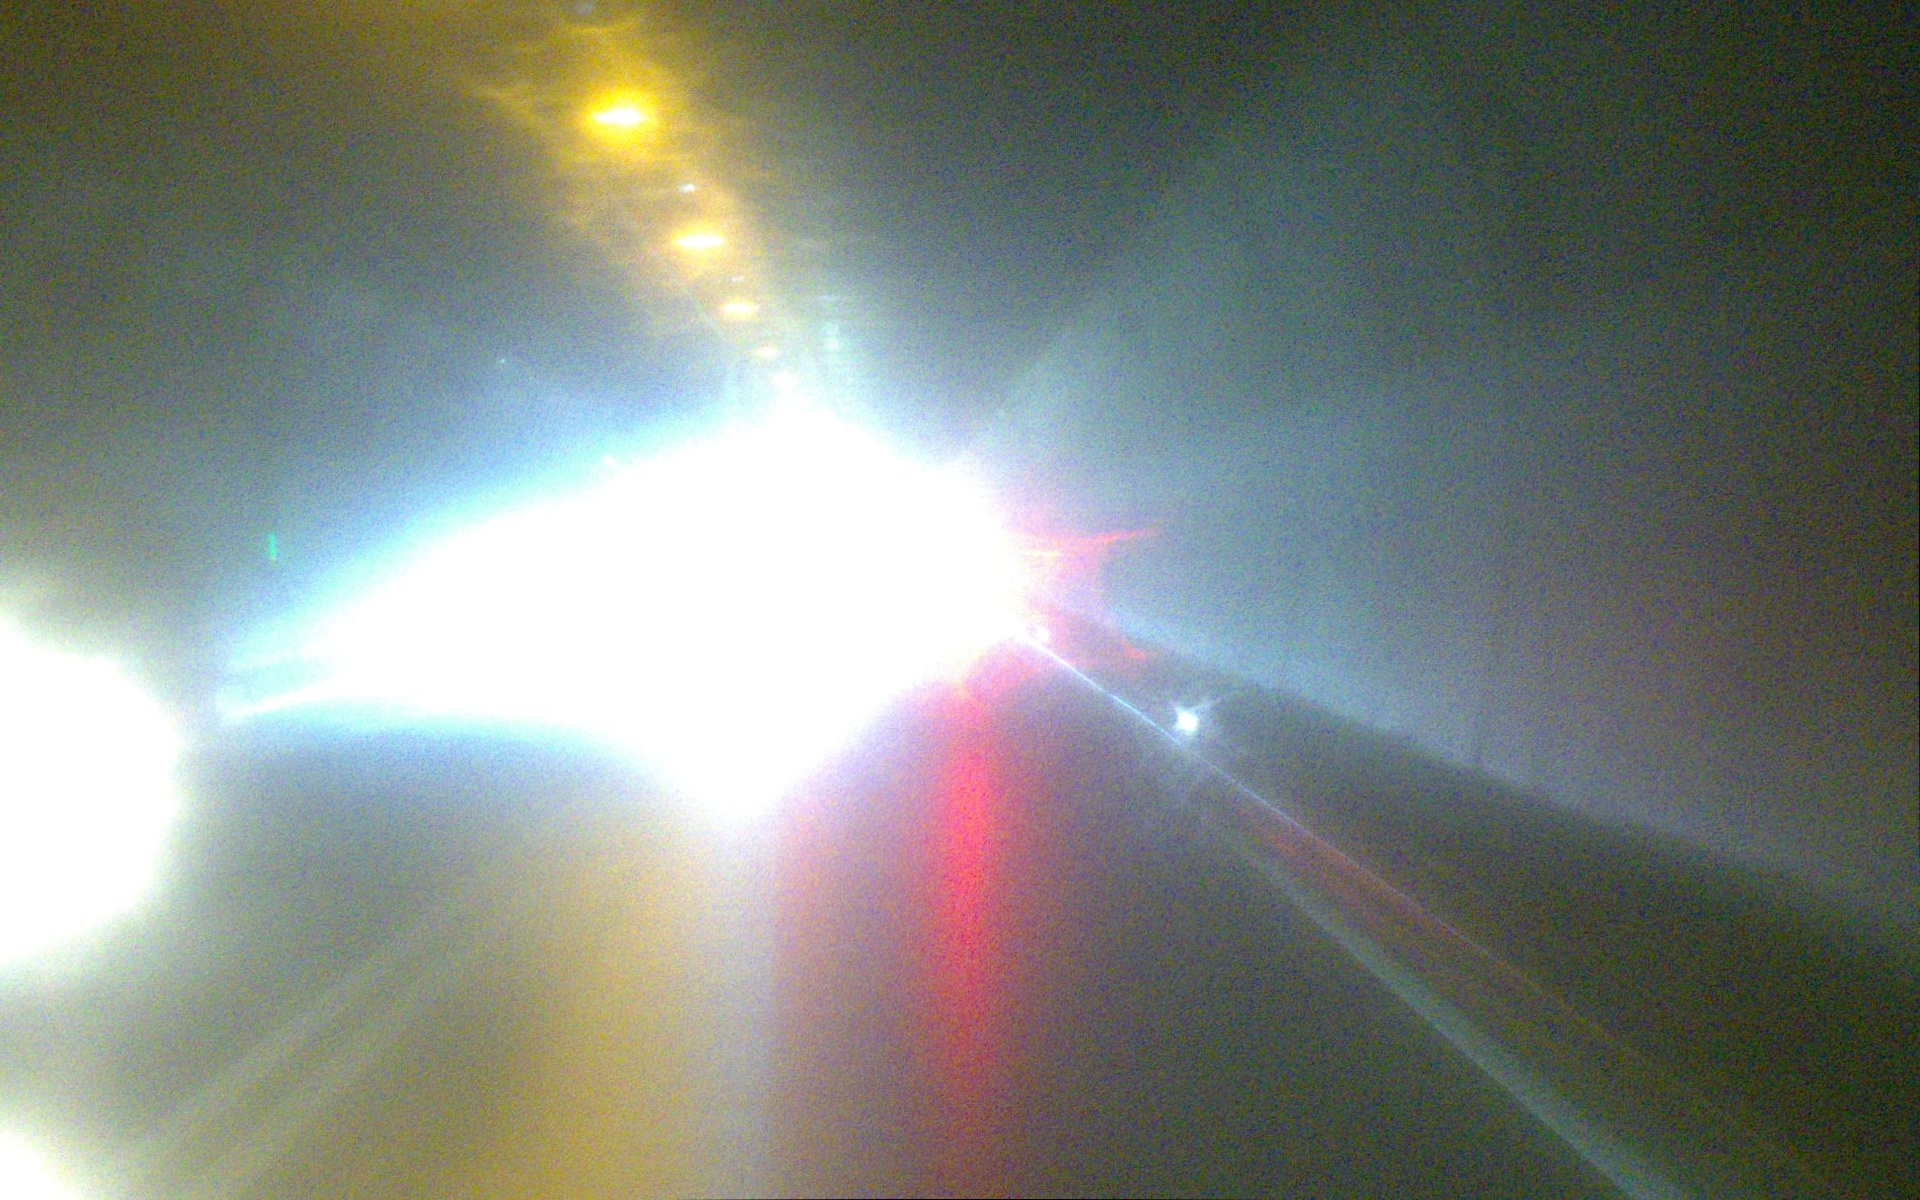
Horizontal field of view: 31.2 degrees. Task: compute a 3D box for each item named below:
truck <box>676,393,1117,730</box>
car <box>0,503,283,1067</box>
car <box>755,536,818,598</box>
[{"bbox_3d":[-0.585,-0.383,32.232,3.535,2.684,8.956,-1,1,-1],"label":"truck"},{"bbox_3d":[-3.490,0.493,11.778,1.598,1.608,3.996,0,1,-1],"label":"car"},{"bbox_3d":[-4.658,-0.910,92.763,1.569,1.626,3.730,-1,1,-1],"label":"car"}]
